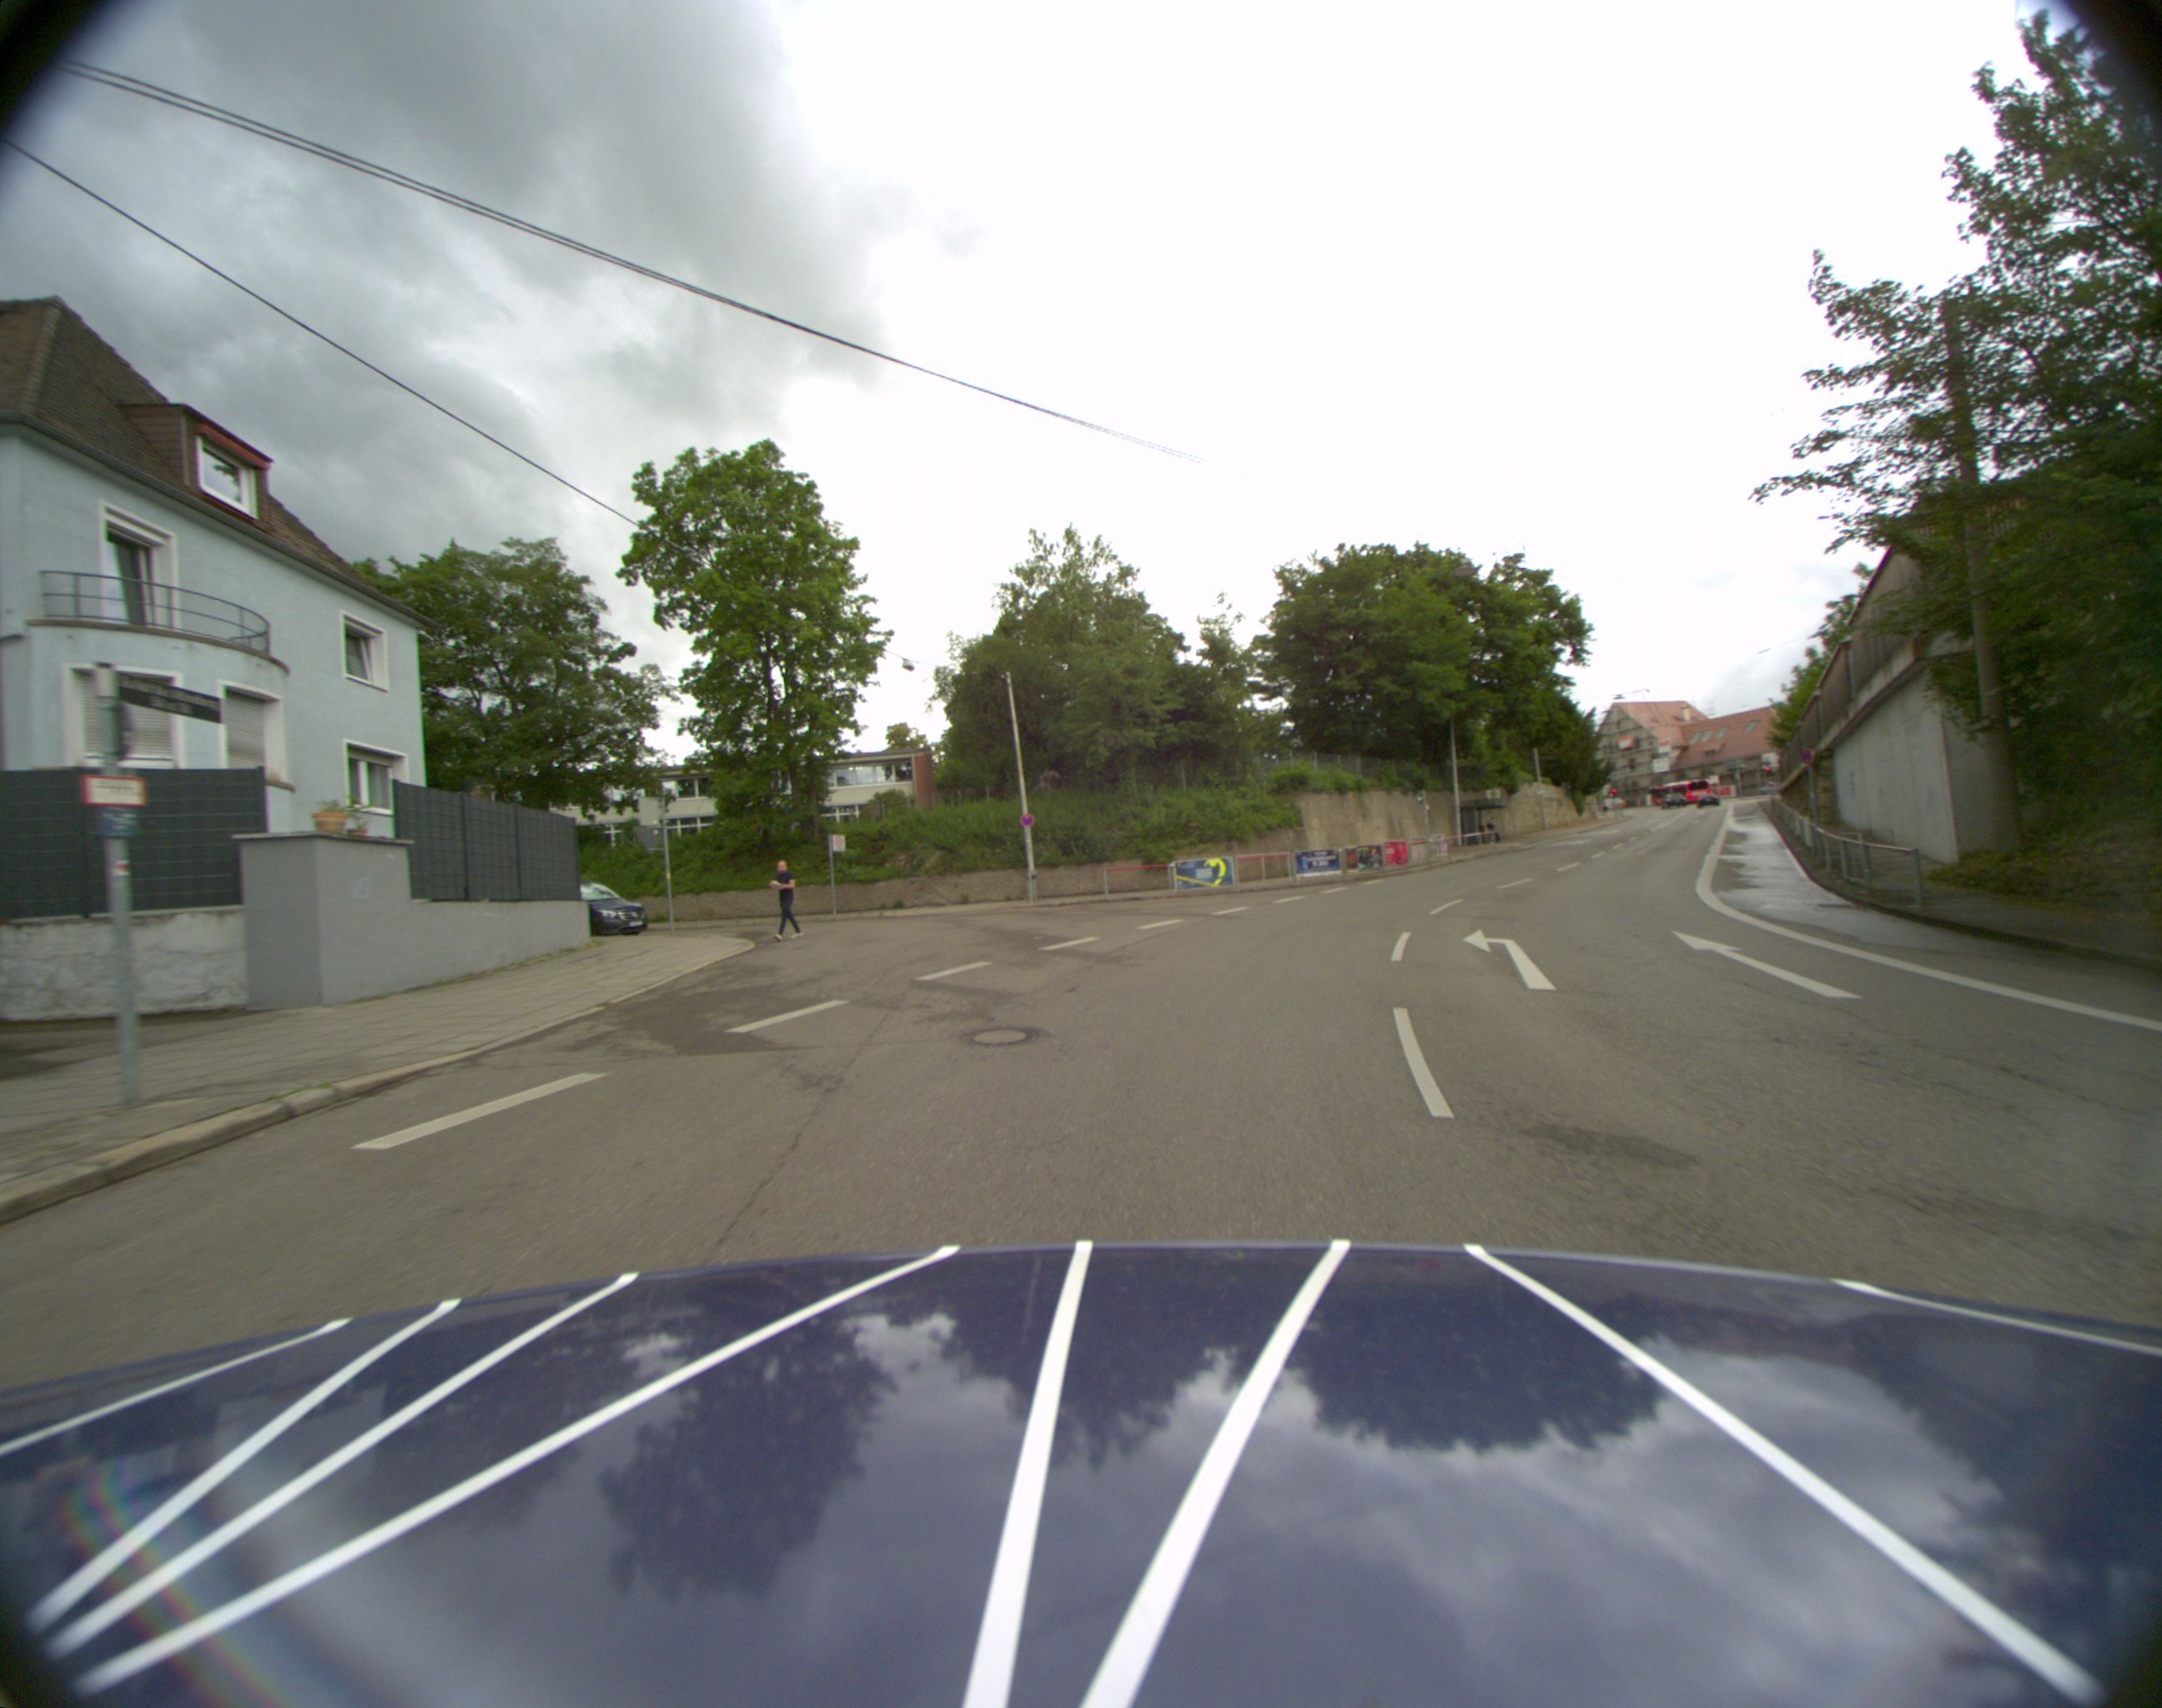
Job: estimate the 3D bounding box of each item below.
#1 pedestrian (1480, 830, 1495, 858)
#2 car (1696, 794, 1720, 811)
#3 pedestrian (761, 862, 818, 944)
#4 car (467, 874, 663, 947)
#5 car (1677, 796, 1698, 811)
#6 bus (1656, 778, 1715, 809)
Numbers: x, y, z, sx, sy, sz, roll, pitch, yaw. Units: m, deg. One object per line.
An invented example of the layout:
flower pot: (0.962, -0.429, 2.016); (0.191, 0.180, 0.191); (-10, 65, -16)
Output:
pedestrian: (24.990, -0.609, 46.711); (0.717, 1.631, 0.742); (-3, 2, 32)
car: (67.187, -5.536, 81.379); (1.852, 1.706, 3.887); (-3, 2, 41)
pedestrian: (-6.719, 1.106, 17.531); (0.573, 1.817, 0.986); (-3, -1, 36)
car: (-15.682, 1.695, 23.203); (4.833, 1.852, 1.953); (-4, -1, 9)
car: (75.653, -6.263, 94.772); (1.852, 1.706, 3.887); (-3, 2, 41)
bus: (81.987, -8.064, 103.314); (2.907, 3.617, 9.493); (-4, 1, 17)
